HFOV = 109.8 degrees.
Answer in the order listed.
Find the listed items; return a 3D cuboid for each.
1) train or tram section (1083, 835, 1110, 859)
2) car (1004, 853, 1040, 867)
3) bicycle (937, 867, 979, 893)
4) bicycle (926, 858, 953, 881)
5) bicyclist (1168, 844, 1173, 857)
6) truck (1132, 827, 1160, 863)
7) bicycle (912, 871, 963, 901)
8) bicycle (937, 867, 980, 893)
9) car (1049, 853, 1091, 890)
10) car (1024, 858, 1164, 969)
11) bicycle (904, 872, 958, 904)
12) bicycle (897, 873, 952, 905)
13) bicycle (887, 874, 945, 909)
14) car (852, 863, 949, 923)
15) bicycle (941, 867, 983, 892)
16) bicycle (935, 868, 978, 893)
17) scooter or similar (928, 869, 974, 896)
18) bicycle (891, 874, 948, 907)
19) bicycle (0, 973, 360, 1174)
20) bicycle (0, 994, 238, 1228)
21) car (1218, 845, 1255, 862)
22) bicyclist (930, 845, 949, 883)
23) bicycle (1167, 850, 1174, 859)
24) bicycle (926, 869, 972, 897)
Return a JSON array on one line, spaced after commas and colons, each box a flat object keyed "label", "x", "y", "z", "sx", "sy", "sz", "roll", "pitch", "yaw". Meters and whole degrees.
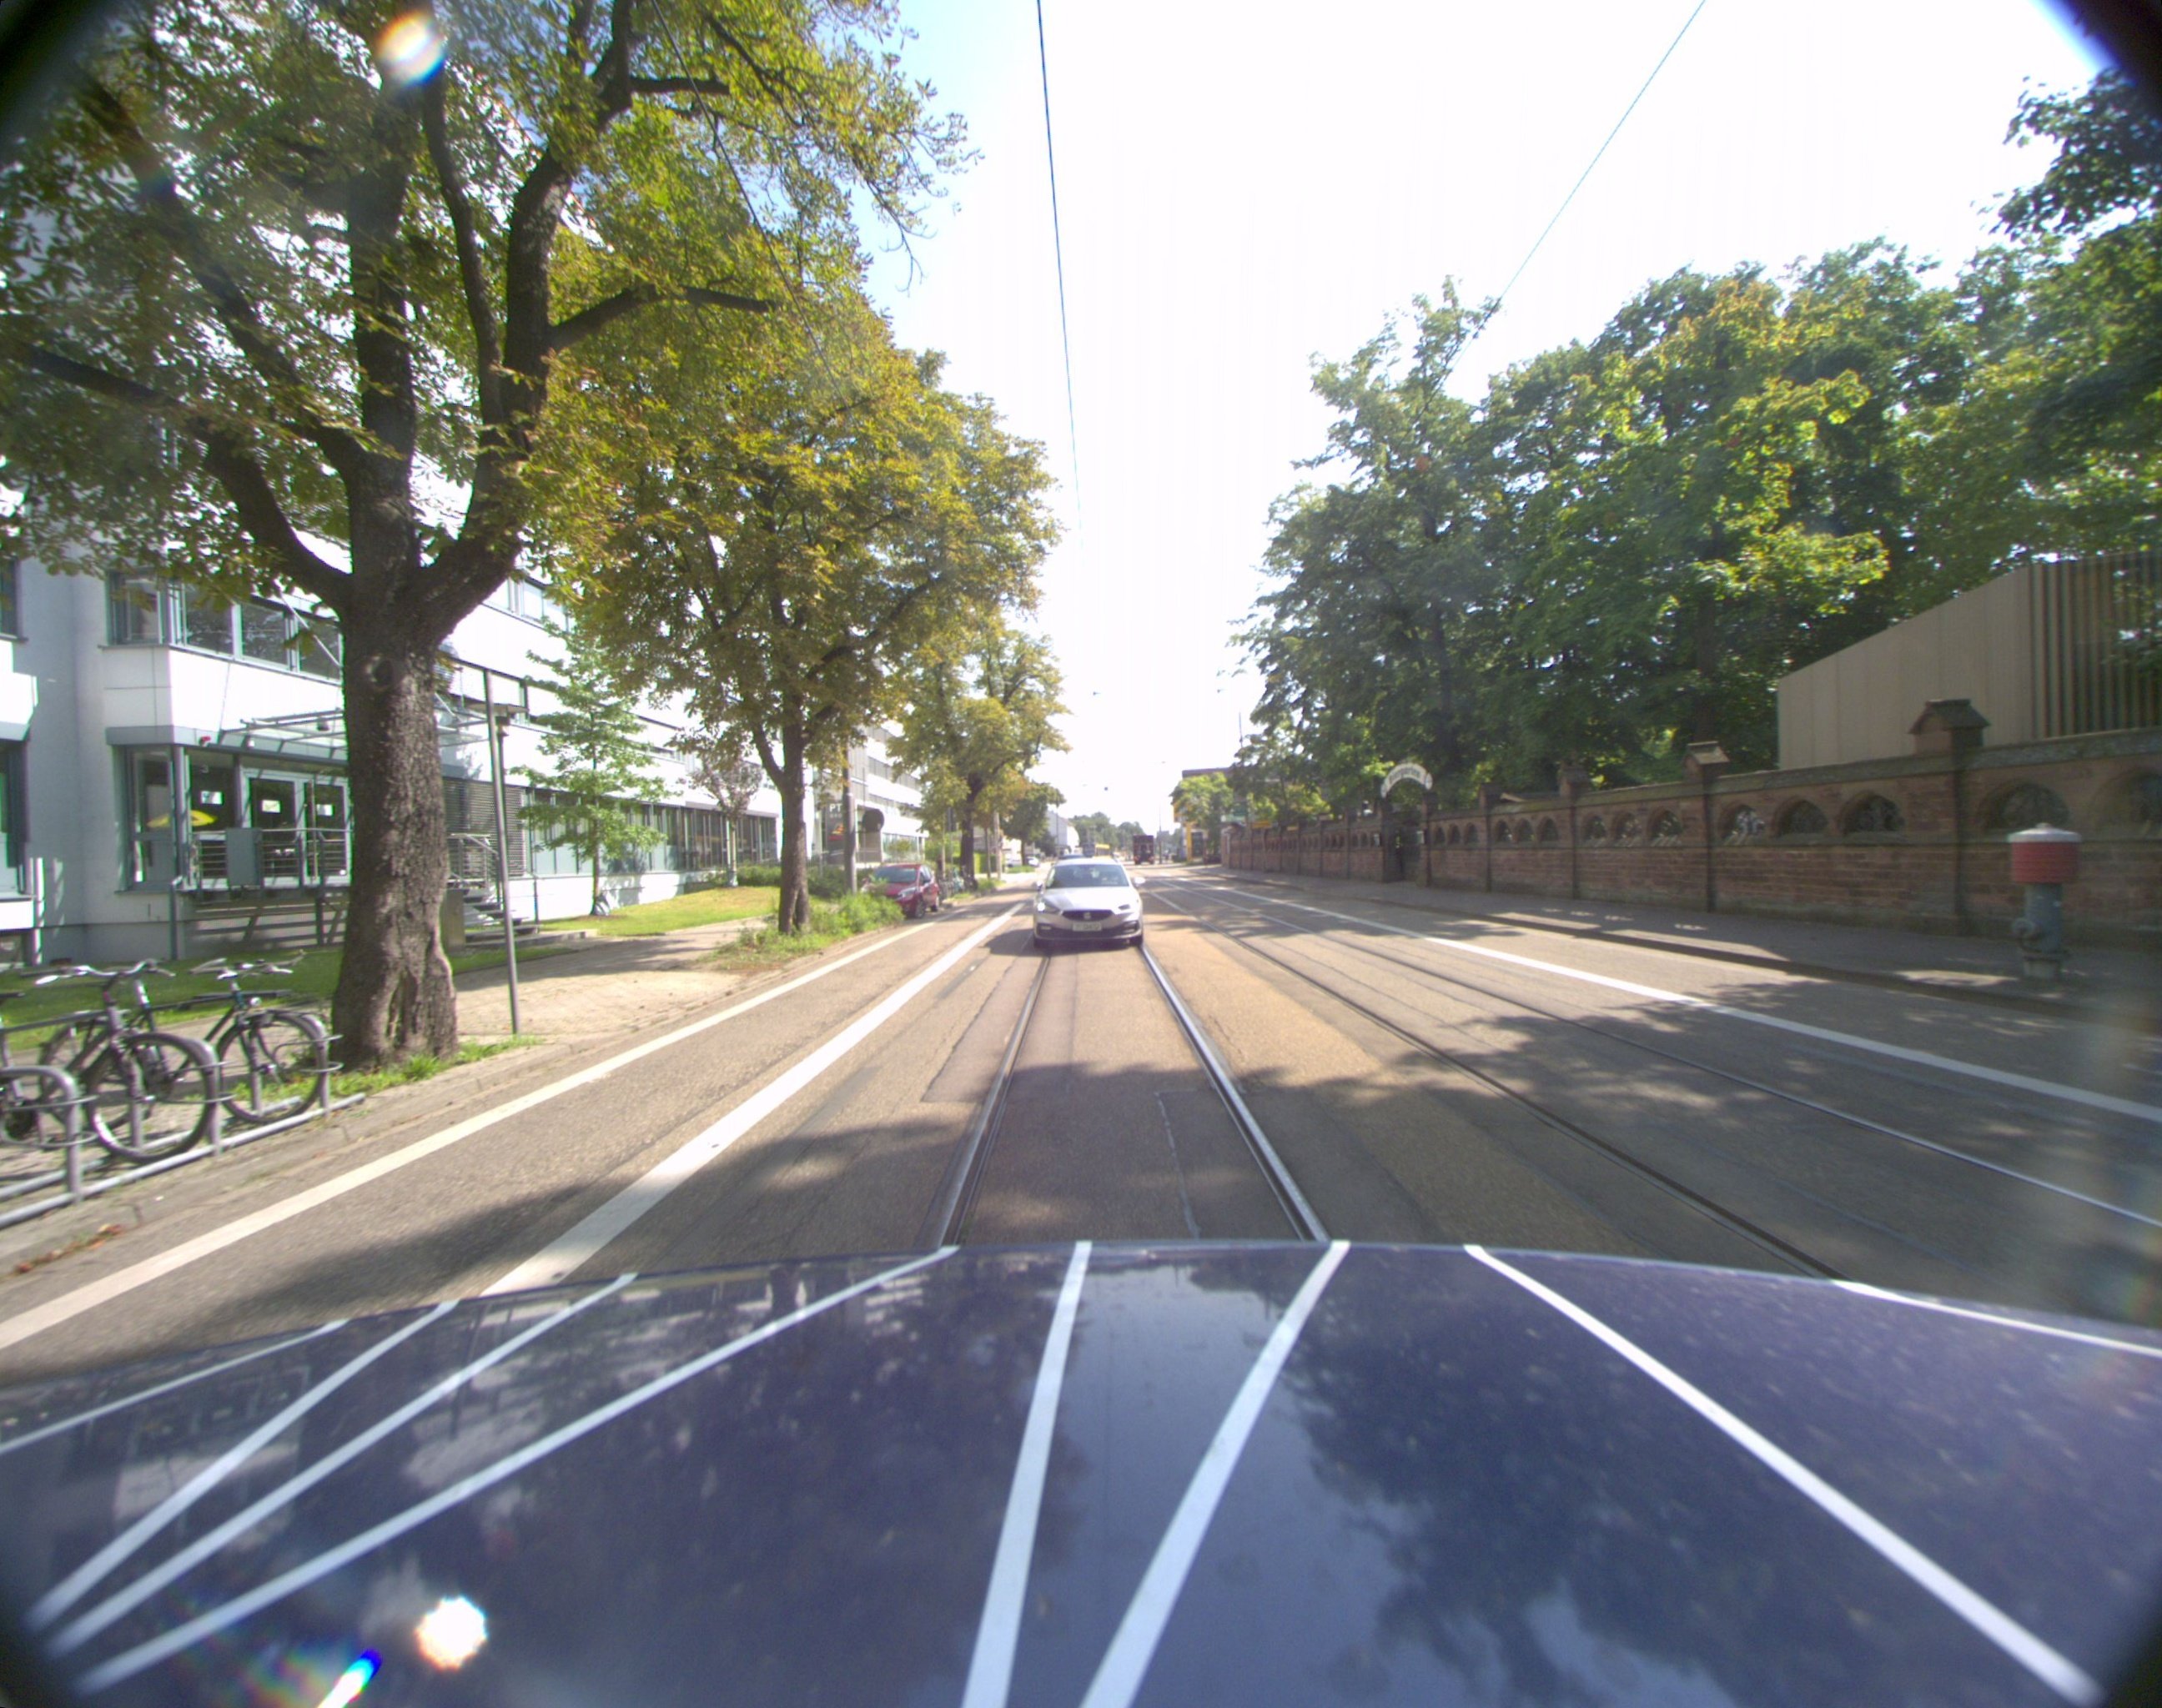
[{"label": "train or tram section", "x": 2.787, "y": -1.279, "z": 132.863, "sx": 4.111, "sy": 3.711, "sz": 24.378, "roll": -2, "pitch": 1, "yaw": 2}, {"label": "car", "x": -7.654, "y": 0.763, "z": 99.146, "sx": 4.552, "sy": 1.506, "sz": 1.960, "roll": -3, "pitch": 1, "yaw": -4}, {"label": "bicycle", "x": -5.447, "y": 1.146, "z": 33.684, "sx": 1.775, "sy": 1.065, "sz": 0.540, "roll": -1, "pitch": 1, "yaw": 0}, {"label": "bicycle", "x": -7.581, "y": 0.795, "z": 40.883, "sx": 1.139, "sy": 1.118, "sz": 2.535, "roll": -3, "pitch": 1, "yaw": -6}, {"label": "bicyclist", "x": 13.181, "y": -0.557, "z": 111.796, "sx": 0.642, "sy": 1.918, "sz": 1.176, "roll": -2, "pitch": 1, "yaw": 9}, {"label": "truck", "x": 8.999, "y": -1.205, "z": 103.675, "sx": 3.171, "sy": 4.427, "sz": 16.846, "roll": -2, "pitch": 1, "yaw": 7}, {"label": "bicycle", "x": -5.351, "y": 1.192, "z": 28.302, "sx": 1.775, "sy": 1.065, "sz": 0.540, "roll": -1, "pitch": 1, "yaw": 0}, {"label": "bicycle", "x": -5.436, "y": 1.145, "z": 33.706, "sx": 1.775, "sy": 1.065, "sz": 0.540, "roll": -1, "pitch": 1, "yaw": 0}, {"label": "car", "x": -0.471, "y": 0.787, "z": 36.241, "sx": 1.834, "sy": 1.543, "sz": 4.032, "roll": -2, "pitch": 1, "yaw": 0}, {"label": "car", "x": 0.190, "y": 0.864, "z": 13.248, "sx": 1.928, "sy": 1.465, "sz": 4.816, "roll": -2, "pitch": 0, "yaw": 0}, {"label": "bicycle", "x": -5.362, "y": 1.203, "z": 27.200, "sx": 1.775, "sy": 1.065, "sz": 0.540, "roll": -1, "pitch": 1, "yaw": 0}, {"label": "bicycle", "x": -5.420, "y": 1.213, "z": 26.390, "sx": 1.775, "sy": 1.065, "sz": 0.540, "roll": -1, "pitch": 1, "yaw": 0}, {"label": "bicycle", "x": -5.399, "y": 1.226, "z": 24.941, "sx": 1.775, "sy": 1.065, "sz": 0.540, "roll": -1, "pitch": 1, "yaw": 0}, {"label": "car", "x": -5.148, "y": 1.055, "z": 22.240, "sx": 1.760, "sy": 1.453, "sz": 4.274, "roll": -1, "pitch": 0, "yaw": 1}, {"label": "bicycle", "x": -5.382, "y": 1.136, "z": 34.402, "sx": 1.775, "sy": 1.065, "sz": 0.540, "roll": -1, "pitch": 1, "yaw": 0}, {"label": "bicycle", "x": -5.409, "y": 1.149, "z": 33.105, "sx": 1.775, "sy": 1.065, "sz": 0.540, "roll": -1, "pitch": 1, "yaw": 0}, {"label": "scooter or similar", "x": -5.366, "y": 1.163, "z": 31.472, "sx": 1.775, "sy": 1.065, "sz": 0.540, "roll": -1, "pitch": 1, "yaw": 0}, {"label": "bicycle", "x": -5.453, "y": 1.221, "z": 25.716, "sx": 1.775, "sy": 1.065, "sz": 0.540, "roll": -1, "pitch": 1, "yaw": 0}, {"label": "bicycle", "x": -5.605, "y": 1.317, "z": 4.678, "sx": 1.775, "sy": 1.044, "sz": 0.540, "roll": -1, "pitch": 1, "yaw": 0}, {"label": "bicycle", "x": -5.656, "y": 1.326, "z": 4.000, "sx": 1.775, "sy": 1.044, "sz": 0.540, "roll": -1, "pitch": 1, "yaw": 0}, {"label": "car", "x": 15.194, "y": -0.098, "z": 74.055, "sx": 1.933, "sy": 1.452, "sz": 4.535, "roll": -2, "pitch": 1, "yaw": 34}, {"label": "bicyclist", "x": -7.578, "y": 0.512, "z": 40.794, "sx": 0.783, "sy": 2.002, "sz": 1.274, "roll": -3, "pitch": 1, "yaw": -5}, {"label": "bicycle", "x": 13.194, "y": 0.063, "z": 111.798, "sx": 0.787, "sy": 1.233, "sz": 2.035, "roll": -3, "pitch": 1, "yaw": 9}, {"label": "bicycle", "x": -5.351, "y": 1.168, "z": 30.885, "sx": 1.775, "sy": 1.065, "sz": 0.540, "roll": -1, "pitch": 1, "yaw": 0}]
